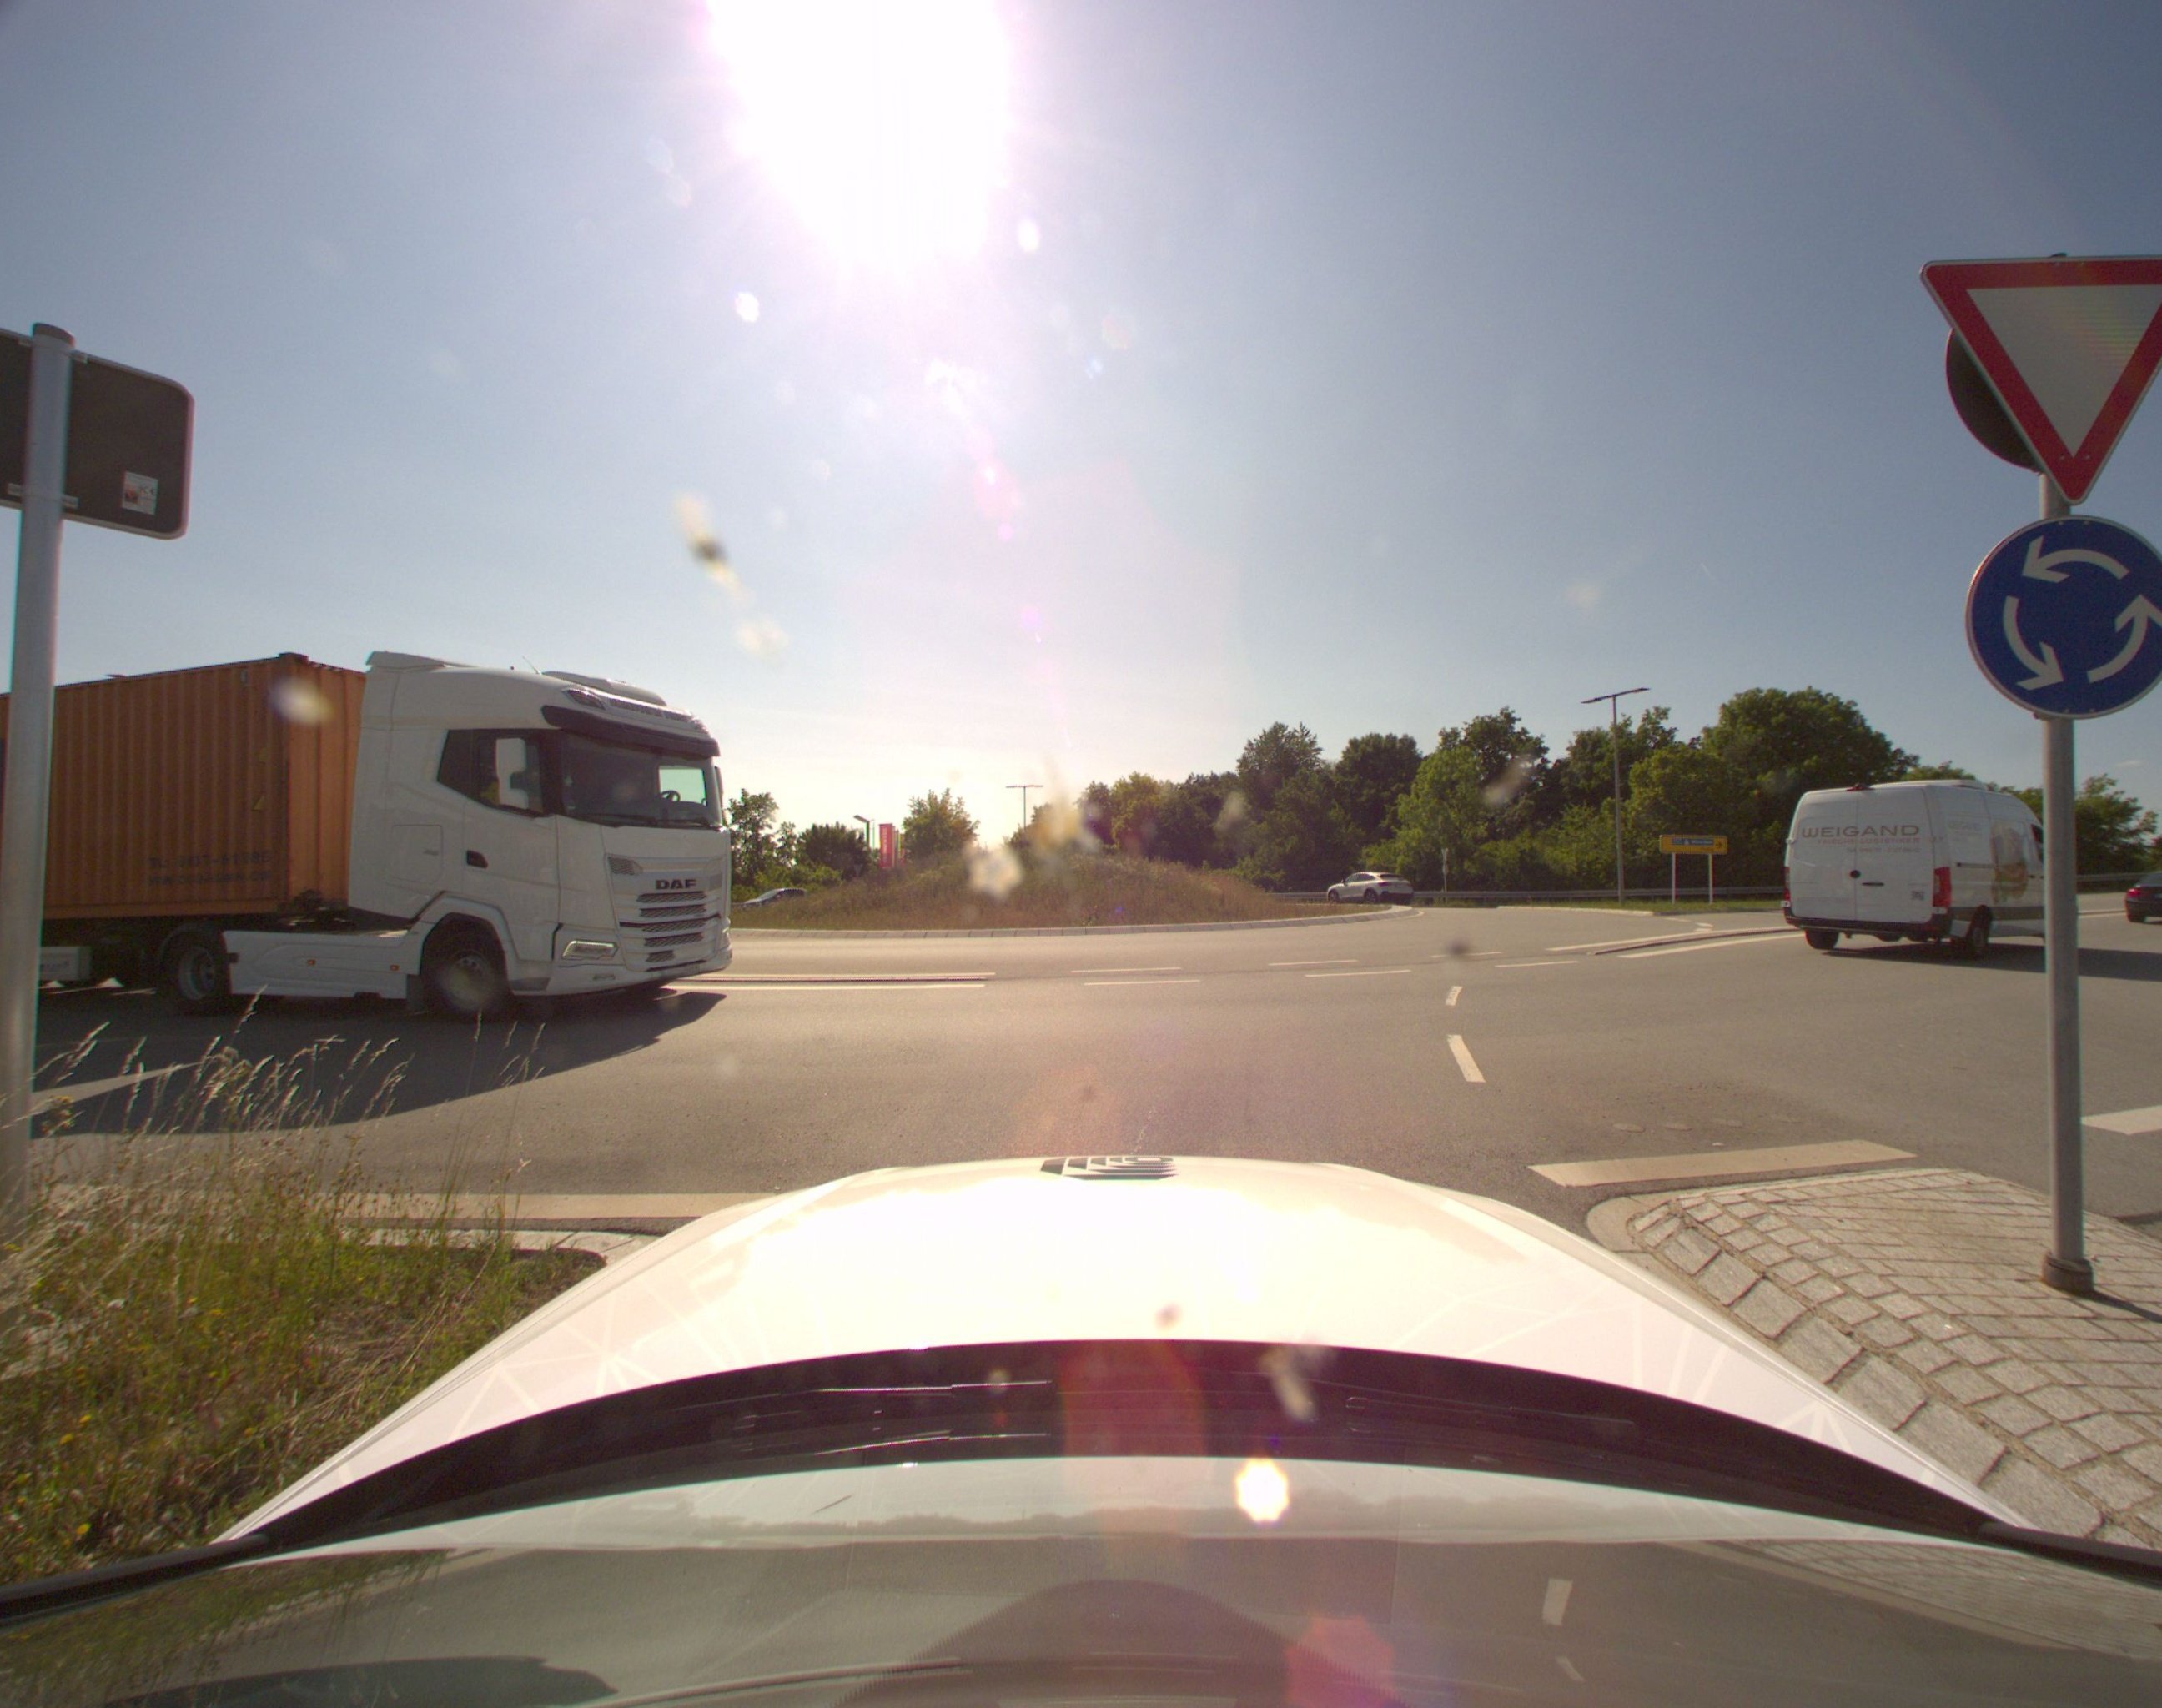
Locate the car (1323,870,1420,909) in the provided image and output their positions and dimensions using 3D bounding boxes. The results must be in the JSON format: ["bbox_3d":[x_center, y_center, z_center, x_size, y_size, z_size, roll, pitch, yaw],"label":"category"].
[{"bbox_3d":[12.754,1.523,36.051,1.846,1.596,4.299,0,-1,-17],"label":"car"}]

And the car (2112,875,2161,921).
[{"bbox_3d":[30.055,1.163,21.920,3.864,1.182,1.666,0,-1,-19],"label":"car"}]

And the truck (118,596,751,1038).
[{"bbox_3d":[-7.541,-0.291,9.719,6.364,4.107,2.674,-1,-1,16],"label":"truck"}]

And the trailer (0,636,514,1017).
[{"bbox_3d":[-14.151,-0.165,11.664,12.229,4.154,2.571,-1,-1,15],"label":"trailer"}]

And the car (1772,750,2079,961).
[{"bbox_3d":[14.316,0.061,13.703,6.155,2.921,2.065,1,-2,-29],"label":"car"}]
